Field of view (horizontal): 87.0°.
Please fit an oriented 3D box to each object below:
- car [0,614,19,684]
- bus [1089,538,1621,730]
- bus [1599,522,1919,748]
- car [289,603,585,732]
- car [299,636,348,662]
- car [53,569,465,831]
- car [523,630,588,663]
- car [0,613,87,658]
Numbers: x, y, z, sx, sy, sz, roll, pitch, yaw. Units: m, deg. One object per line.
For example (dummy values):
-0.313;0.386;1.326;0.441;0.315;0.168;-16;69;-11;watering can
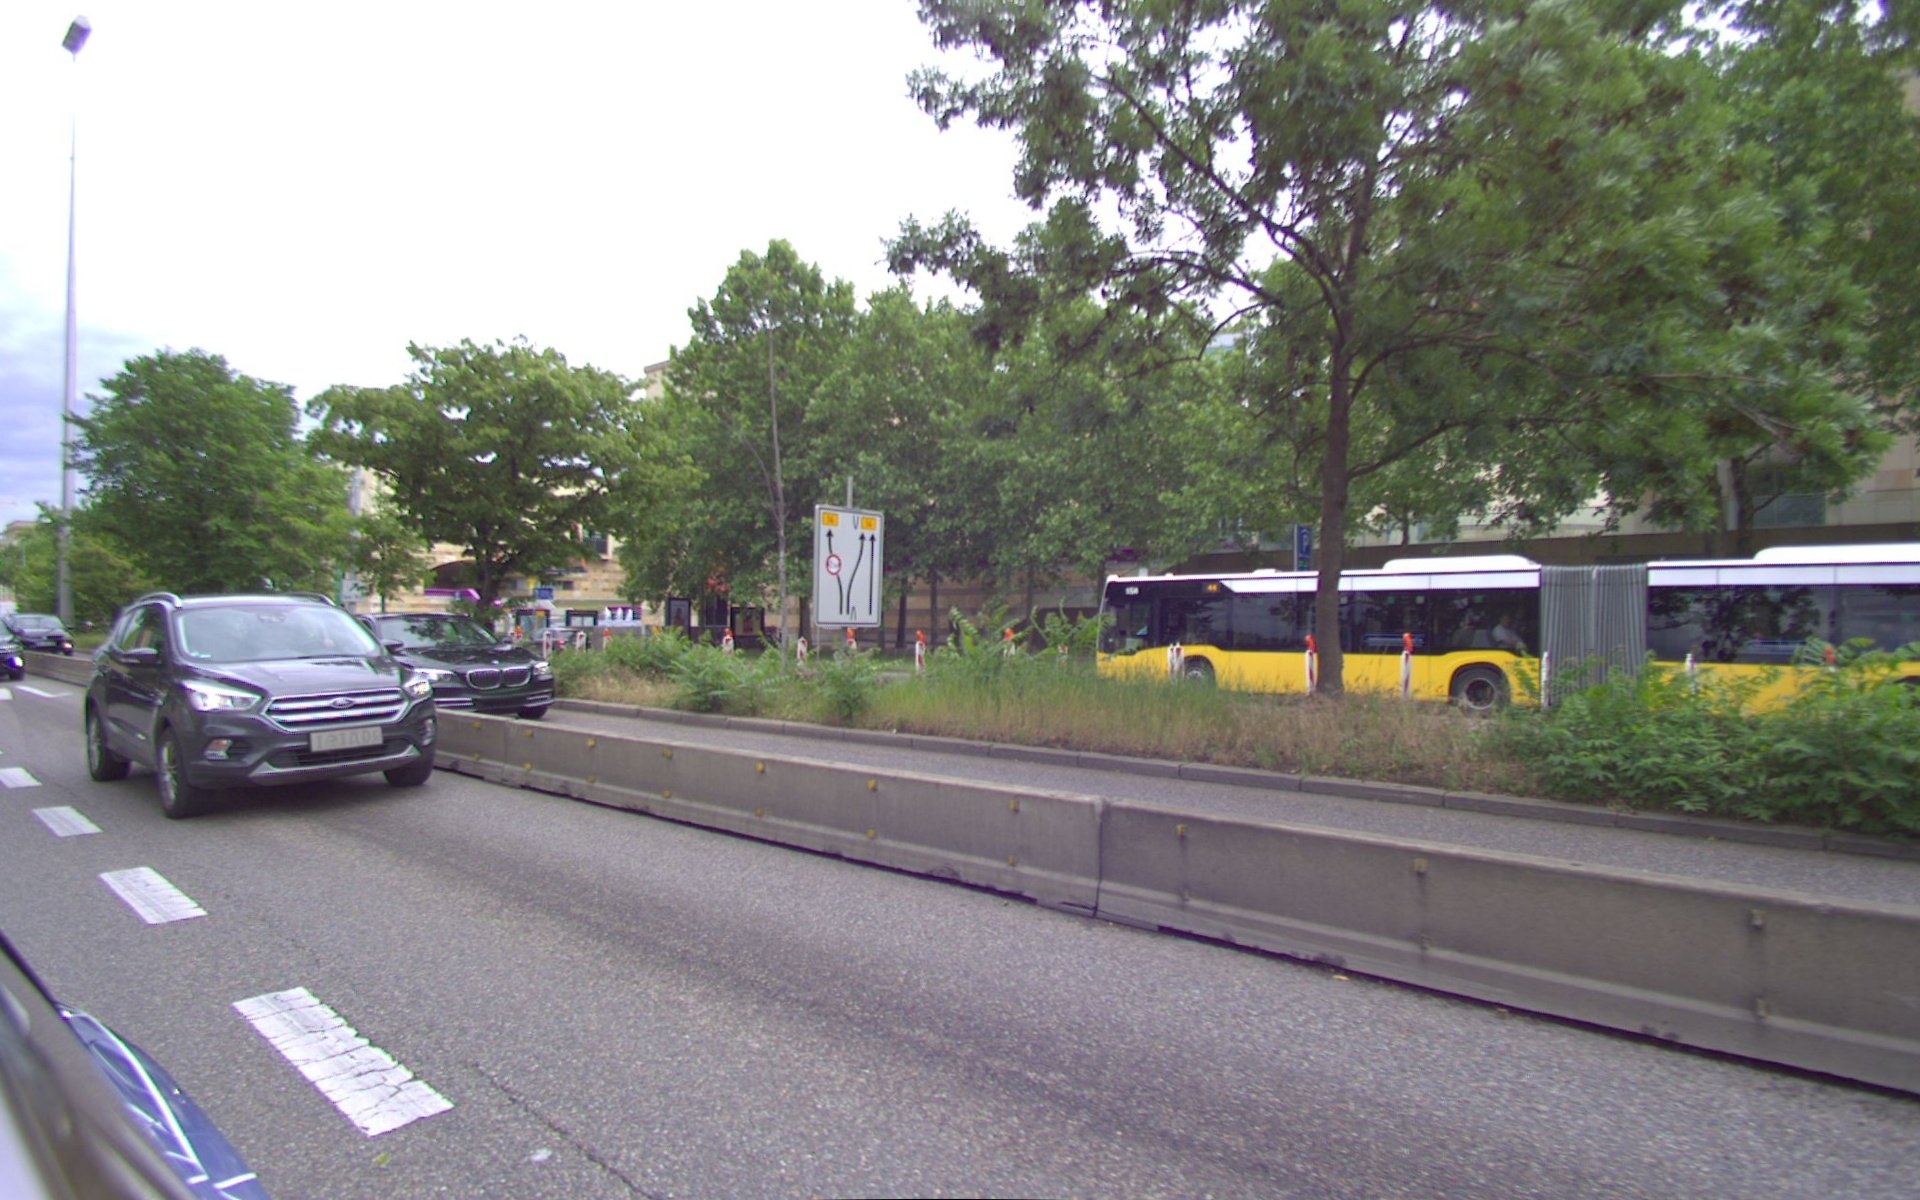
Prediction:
-22.948;1.094;23.058;4.149;1.527;1.745;0;0;40;car
7.995;0.674;22.032;10.442;3.330;2.882;-1;-2;40;bus
14.927;0.544;16.106;7.701;3.329;2.893;-1;-2;41;bus
-7.360;0.834;14.020;4.805;1.494;1.973;-1;-2;40;car
-37.205;2.835;59.140;3.734;1.298;1.338;0;1;40;car
-6.340;0.703;8.911;4.655;1.728;1.874;-2;-1;41;car
-17.667;2.000;44.197;3.054;1.298;1.339;0;1;40;car
-32.697;1.231;35.823;4.805;1.494;1.973;-1;-2;40;car
